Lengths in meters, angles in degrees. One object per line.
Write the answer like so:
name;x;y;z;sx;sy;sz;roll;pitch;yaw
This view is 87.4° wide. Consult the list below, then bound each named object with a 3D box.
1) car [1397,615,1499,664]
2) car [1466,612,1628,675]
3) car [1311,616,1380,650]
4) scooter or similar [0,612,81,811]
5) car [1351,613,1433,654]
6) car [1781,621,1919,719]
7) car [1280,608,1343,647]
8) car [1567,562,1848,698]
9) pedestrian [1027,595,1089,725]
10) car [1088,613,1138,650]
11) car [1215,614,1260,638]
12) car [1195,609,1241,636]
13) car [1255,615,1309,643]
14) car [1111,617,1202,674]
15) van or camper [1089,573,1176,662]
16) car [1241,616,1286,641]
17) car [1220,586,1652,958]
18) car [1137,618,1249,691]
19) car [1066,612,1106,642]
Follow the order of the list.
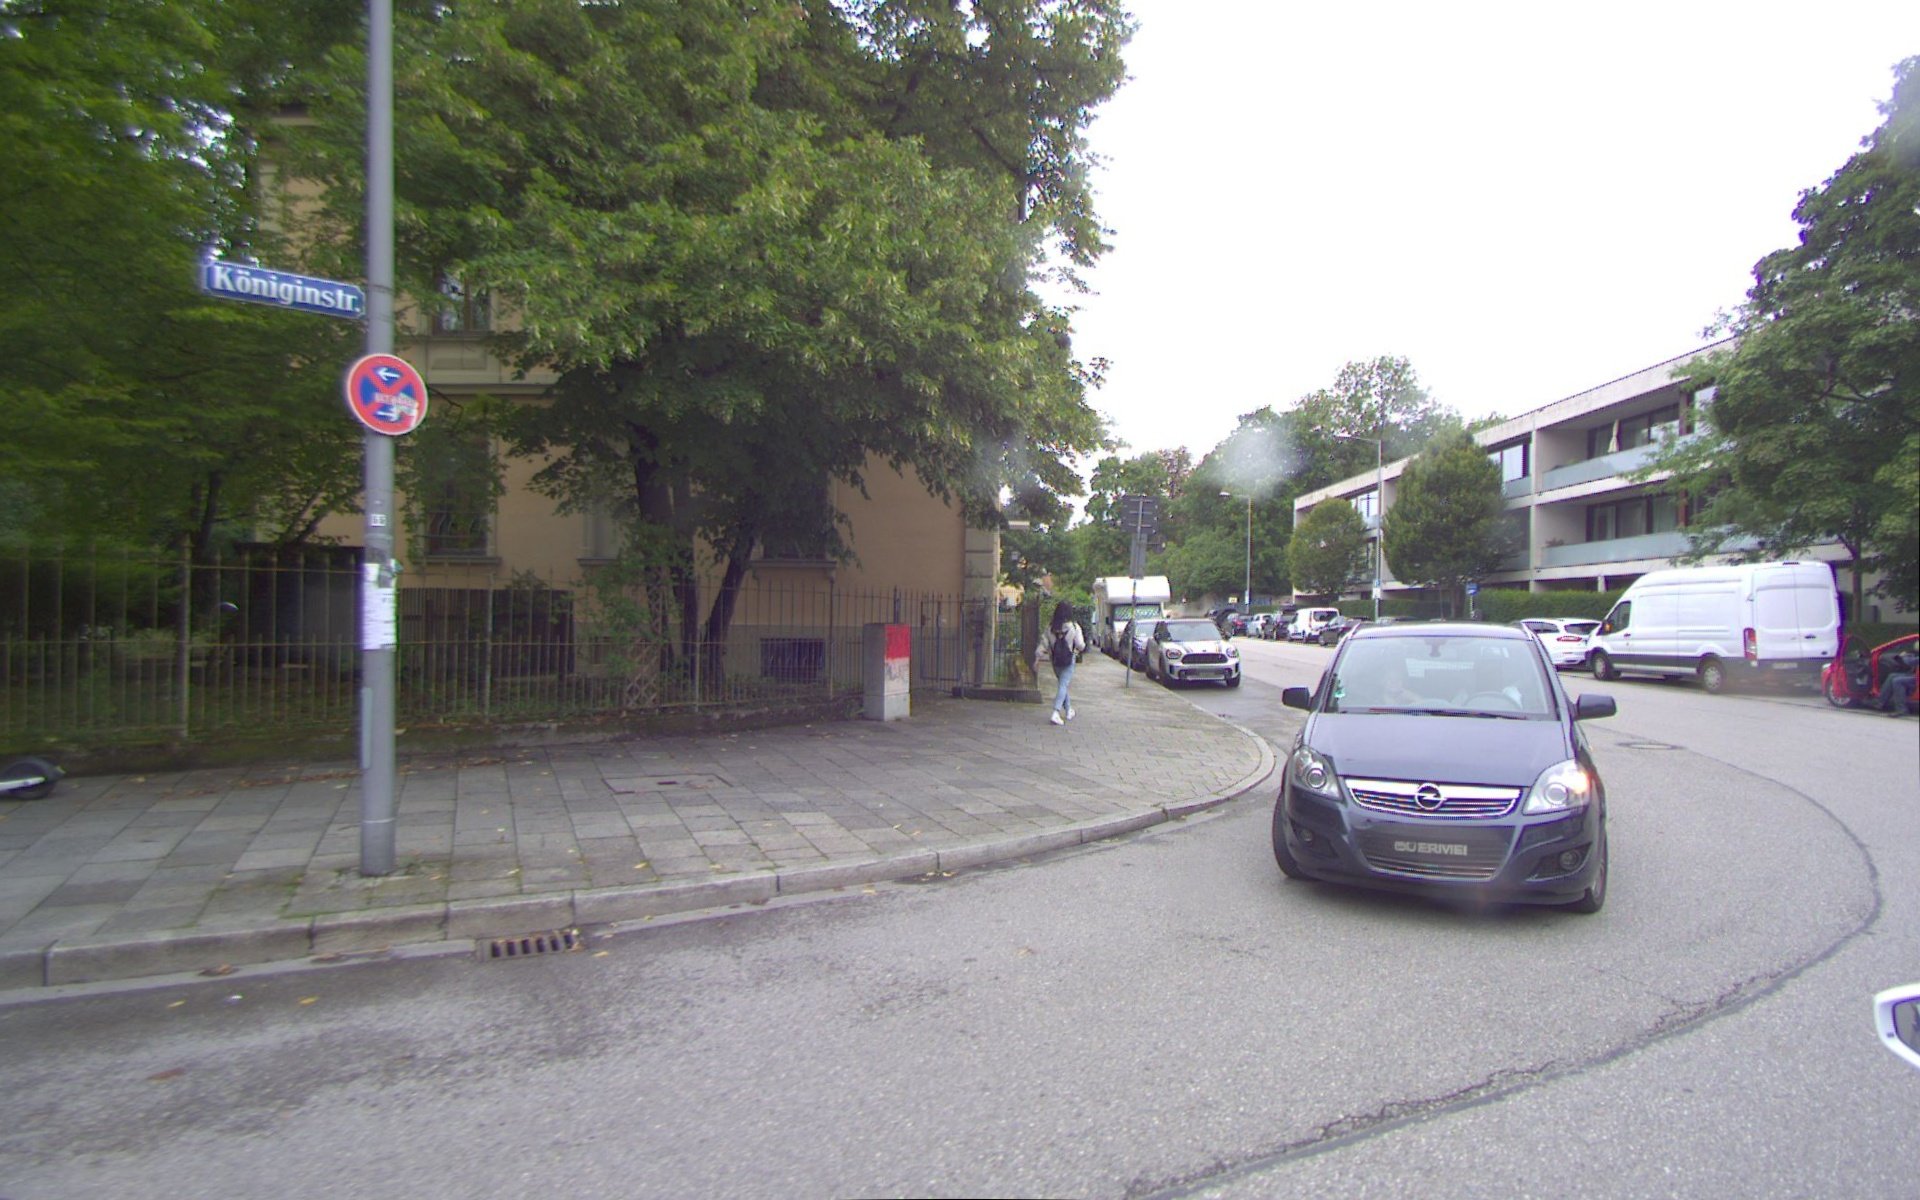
car;17.503;1.353;36.283;1.260;1.526;5.208;-1;0;2
car;17.382;1.231;30.074;1.840;1.590;5.000;-1;0;-1
car;18.006;1.521;47.064;1.718;1.483;4.243;0;0;2
scooter or similar;-6.413;0.684;6.217;1.400;1.206;0.389;2;4;-25
car;17.873;1.355;41.723;1.698;1.549;4.205;-1;0;2
car;16.909;1.196;17.146;1.840;1.527;4.838;-2;0;1
car;18.442;1.408;52.931;1.792;1.885;4.900;2;0;3
car;16.970;0.607;23.374;2.045;2.722;6.088;-1;0;1
pedestrian;1.315;0.784;13.452;0.642;1.624;0.740;6;0;7
car;6.909;1.392;45.710;1.748;1.555;4.229;-1;-1;2
car;18.870;1.760;68.419;1.719;1.560;4.569;1;-1;-1
car;18.895;1.669;73.792;1.955;1.896;5.078;2;-1;-1
car;18.545;1.639;58.085;1.718;1.500;4.598;2;0;2
car;5.901;1.313;30.720;1.903;1.528;4.823;-1;-1;1
van or camper;6.310;0.617;37.635;2.414;2.980;7.214;-1;0;3
car;18.888;1.753;62.692;1.719;1.500;3.889;1;0;1
car;3.252;0.896;7.034;1.963;1.715;4.331;-1;-3;26
car;5.637;1.261;24.852;1.903;1.555;4.532;-2;-1;3
car;7.103;1.519;56.969;1.814;1.555;4.443;-2;-1;2
